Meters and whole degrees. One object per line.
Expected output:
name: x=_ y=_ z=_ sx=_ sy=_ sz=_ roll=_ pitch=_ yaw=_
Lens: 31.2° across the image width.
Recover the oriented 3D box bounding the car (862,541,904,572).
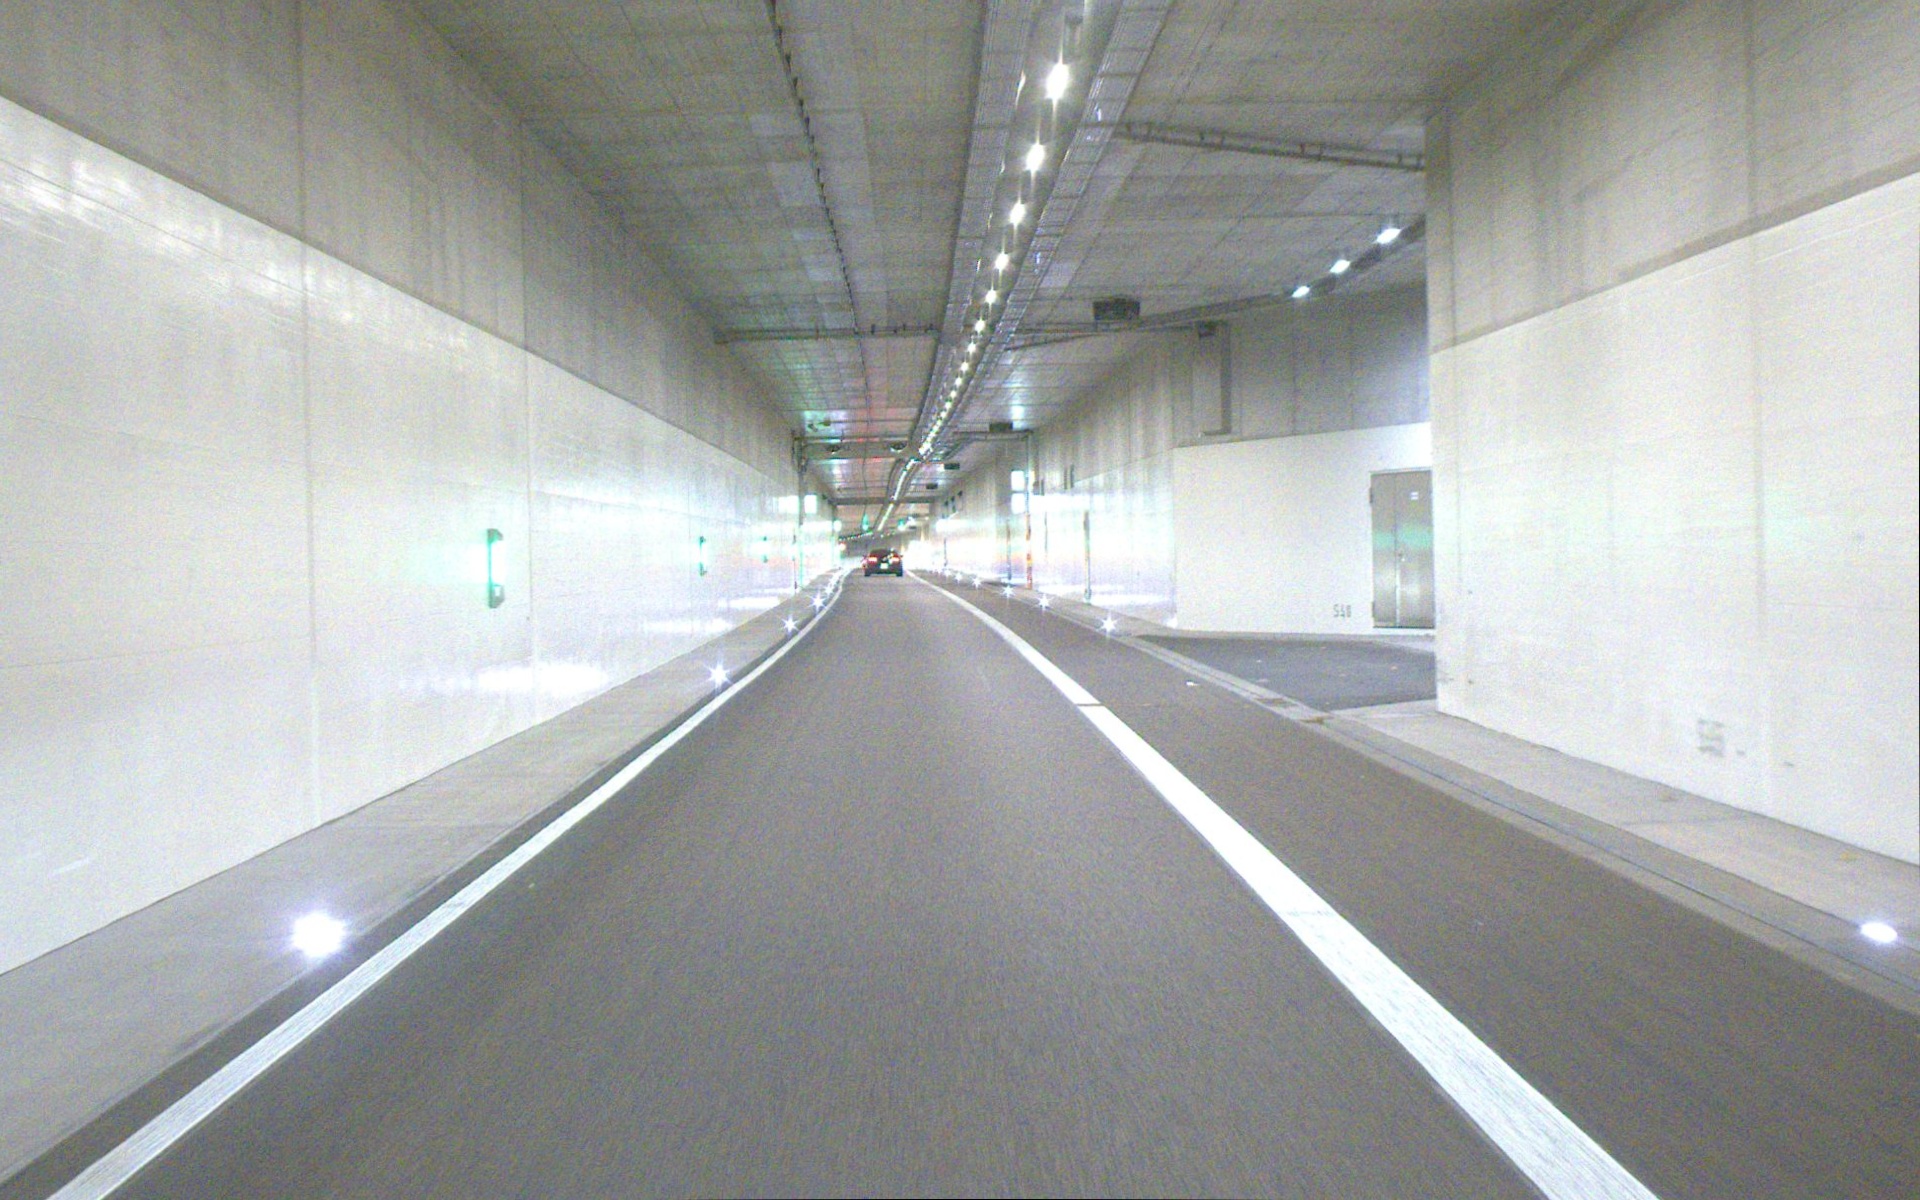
car: x=-3.829 y=-2.165 z=170.530 sx=1.993 sy=1.415 sz=4.000 roll=-3 pitch=1 yaw=-2
